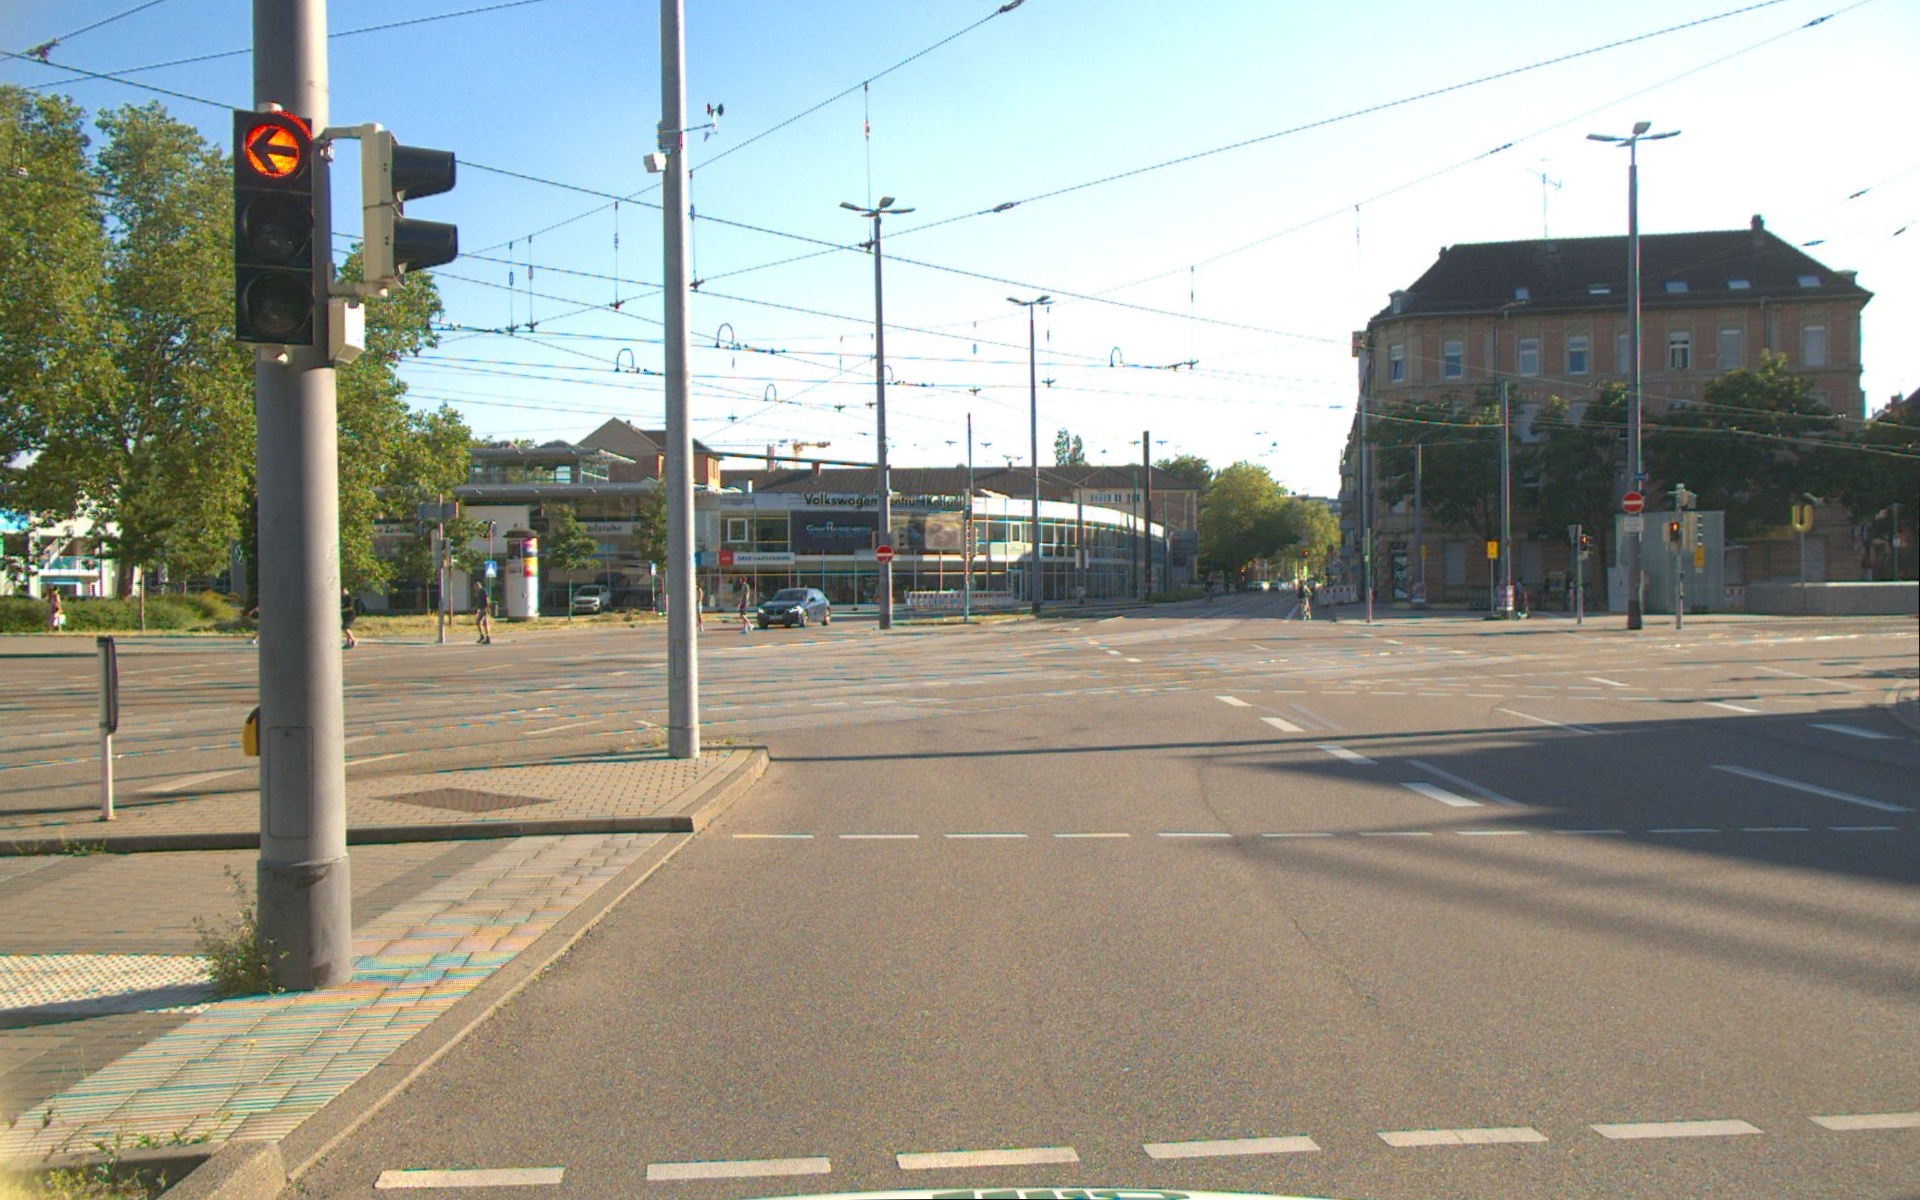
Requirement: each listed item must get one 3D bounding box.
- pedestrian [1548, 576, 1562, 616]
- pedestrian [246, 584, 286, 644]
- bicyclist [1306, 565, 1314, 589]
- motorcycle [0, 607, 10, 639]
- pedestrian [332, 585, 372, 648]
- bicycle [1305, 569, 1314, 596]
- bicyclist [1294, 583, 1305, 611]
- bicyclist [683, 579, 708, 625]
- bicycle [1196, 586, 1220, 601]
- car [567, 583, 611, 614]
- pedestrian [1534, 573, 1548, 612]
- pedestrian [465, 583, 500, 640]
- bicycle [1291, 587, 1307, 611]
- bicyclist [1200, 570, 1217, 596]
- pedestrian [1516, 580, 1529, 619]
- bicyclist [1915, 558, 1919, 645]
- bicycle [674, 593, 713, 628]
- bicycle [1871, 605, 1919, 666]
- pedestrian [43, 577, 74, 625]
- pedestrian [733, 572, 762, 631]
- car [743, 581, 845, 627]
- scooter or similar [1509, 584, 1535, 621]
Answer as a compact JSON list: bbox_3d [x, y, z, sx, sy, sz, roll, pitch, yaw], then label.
[{"bbox_3d":[30.852,-0.206,85.784,0.589,2.049,0.647,-1,0,14],"label":"pedestrian"},{"bbox_3d":[-20.183,0.408,48.105,0.777,1.736,0.759,1,-1,6],"label":"pedestrian"},{"bbox_3d":[27.051,-1.786,127.867,0.586,1.840,0.828,1,-1,12],"label":"bicyclist"},{"bbox_3d":[-28.926,0.668,48.490,1.748,0.930,0.675,1,0,-21],"label":"motorcycle"},{"bbox_3d":[-17.098,0.454,46.525,0.777,1.736,0.759,1,-1,6],"label":"pedestrian"},{"bbox_3d":[27.038,-1.376,127.890,0.604,2.049,2.402,1,0,13],"label":"bicycle"},{"bbox_3d":[13.928,-0.137,67.839,0.399,1.136,0.399,1,-1,18],"label":"bicyclist"},{"bbox_3d":[-9.523,0.076,59.562,0.585,1.644,0.823,1,-1,16],"label":"bicyclist"},{"bbox_3d":[15.995,-0.418,106.664,0.650,0.969,1.584,1,0,-30],"label":"bicycle"},{"bbox_3d":[-22.165,-0.081,98.858,1.954,1.780,3.997,1,0,-4],"label":"car"},{"bbox_3d":[30.624,-0.414,87.193,0.589,2.049,0.647,-1,0,14],"label":"pedestrian"},{"bbox_3d":[-14.715,0.359,50.947,0.777,1.736,0.759,1,-1,6],"label":"pedestrian"},{"bbox_3d":[13.879,-0.042,67.685,0.401,0.958,1.846,1,0,18],"label":"bicycle"},{"bbox_3d":[16.032,-1.094,106.581,0.763,1.604,0.754,1,-1,-30],"label":"bicyclist"},{"bbox_3d":[29.573,-0.015,86.909,0.589,2.049,0.647,-1,0,14],"label":"pedestrian"},{"bbox_3d":[17.698,0.034,29.672,0.505,1.584,0.945,1,0,-9],"label":"bicyclist"},{"bbox_3d":[-9.562,0.376,59.470,0.599,1.210,1.870,1,0,17],"label":"bicycle"},{"bbox_3d":[17.621,0.660,30.076,0.524,1.067,2.316,1,1,-9],"label":"bicycle"},{"bbox_3d":[-32.416,0.034,59.479,0.839,1.723,0.496,1,-1,-3],"label":"pedestrian"},{"bbox_3d":[-7.097,0.049,55.173,0.777,1.919,0.759,1,-1,6],"label":"pedestrian"},{"bbox_3d":[-6.141,0.163,61.682,1.954,1.613,3.996,1,0,26],"label":"car"},{"bbox_3d":[21.647,0.102,63.728,0.769,1.400,1.910,1,0,13],"label":"scooter or similar"}]
